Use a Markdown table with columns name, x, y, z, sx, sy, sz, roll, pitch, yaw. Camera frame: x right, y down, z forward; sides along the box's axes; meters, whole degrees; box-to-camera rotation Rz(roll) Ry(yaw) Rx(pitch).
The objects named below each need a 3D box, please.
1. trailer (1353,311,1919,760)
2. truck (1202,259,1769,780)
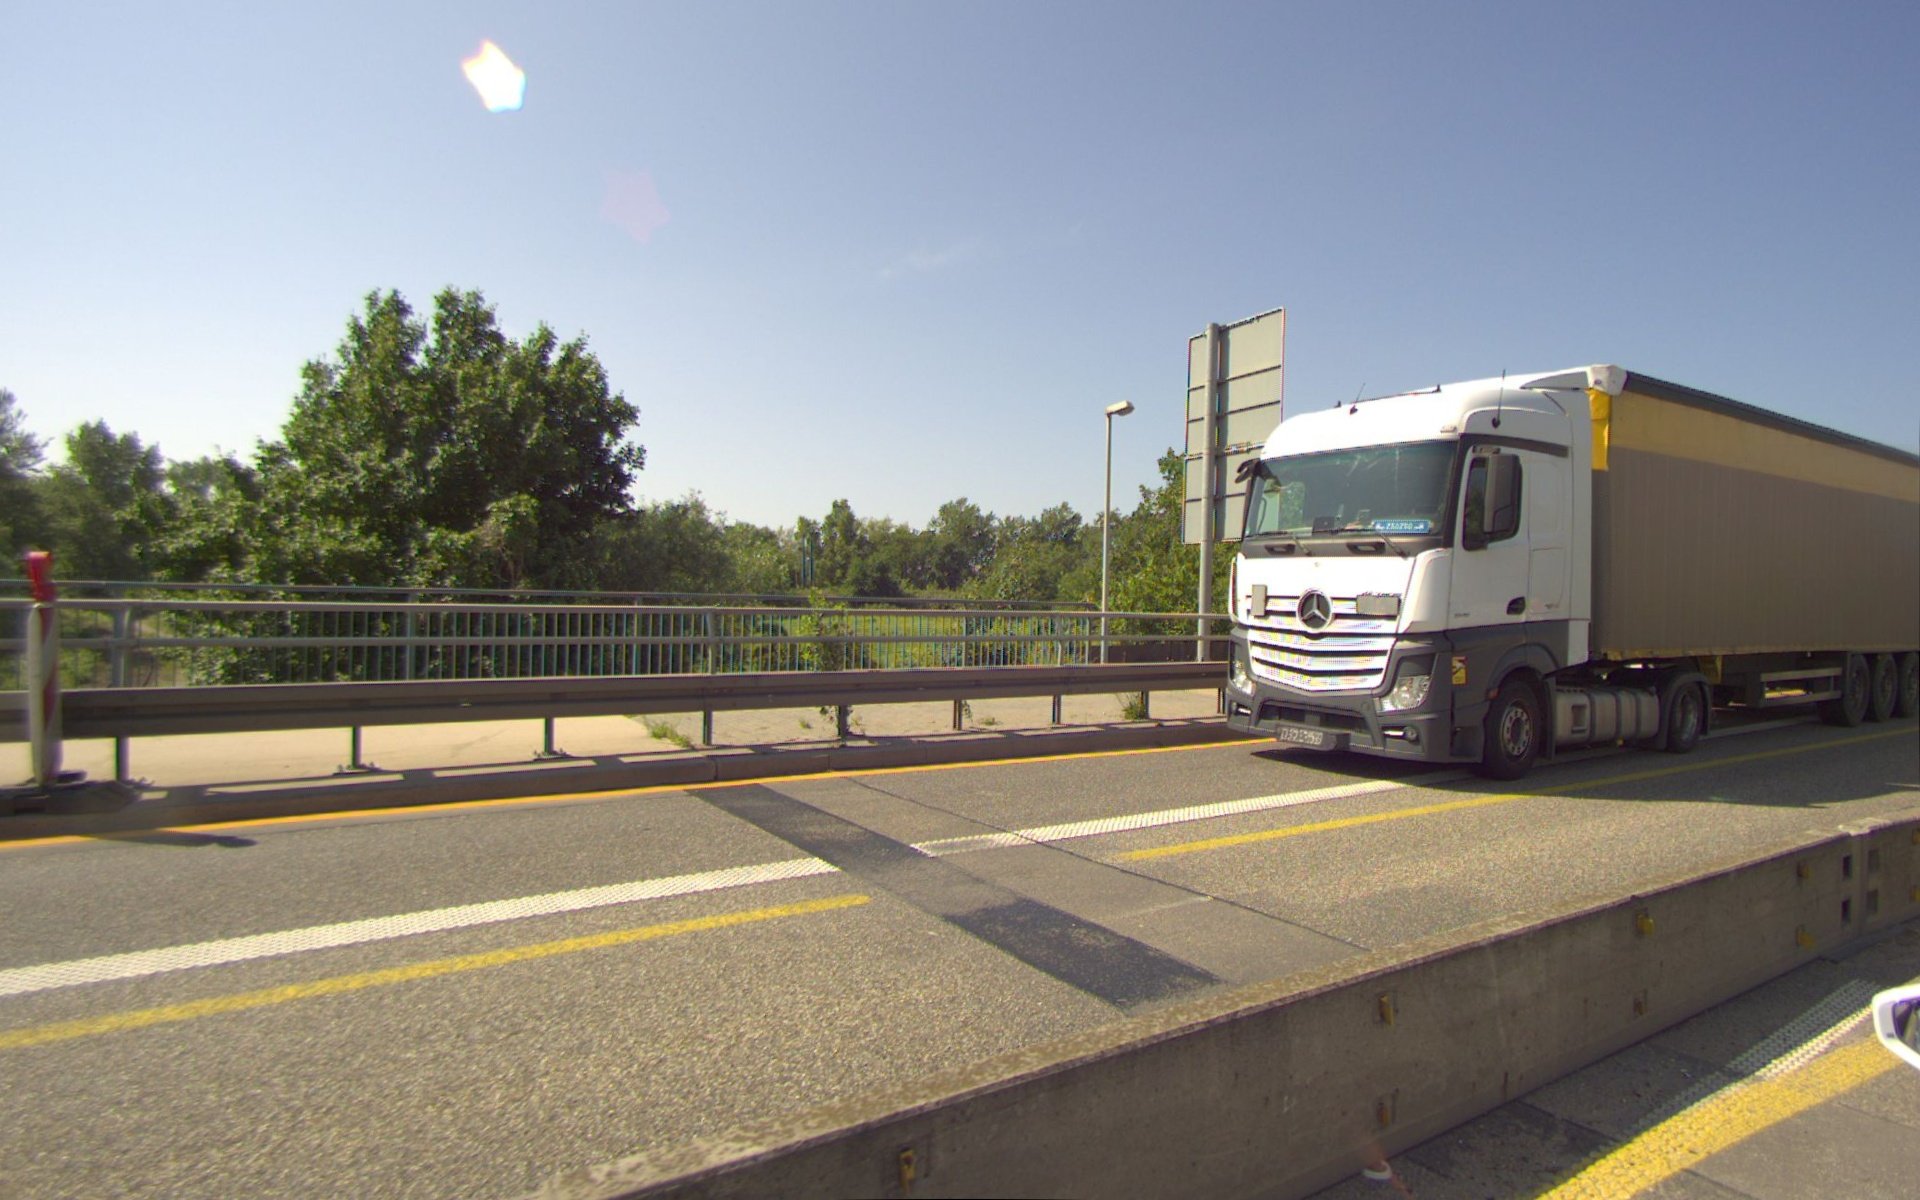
| name | x | y | z | sx | sy | sz | roll | pitch | yaw |
| --- | --- | --- | --- | --- | --- | --- | --- | --- | --- |
| trailer | 11.323 | -0.436 | 14.520 | 14.377 | 4.191 | 2.745 | 2 | -1 | -34 |
| truck | 5.905 | -0.570 | 10.969 | 6.346 | 4.191 | 2.734 | 1 | -1 | -33 |
